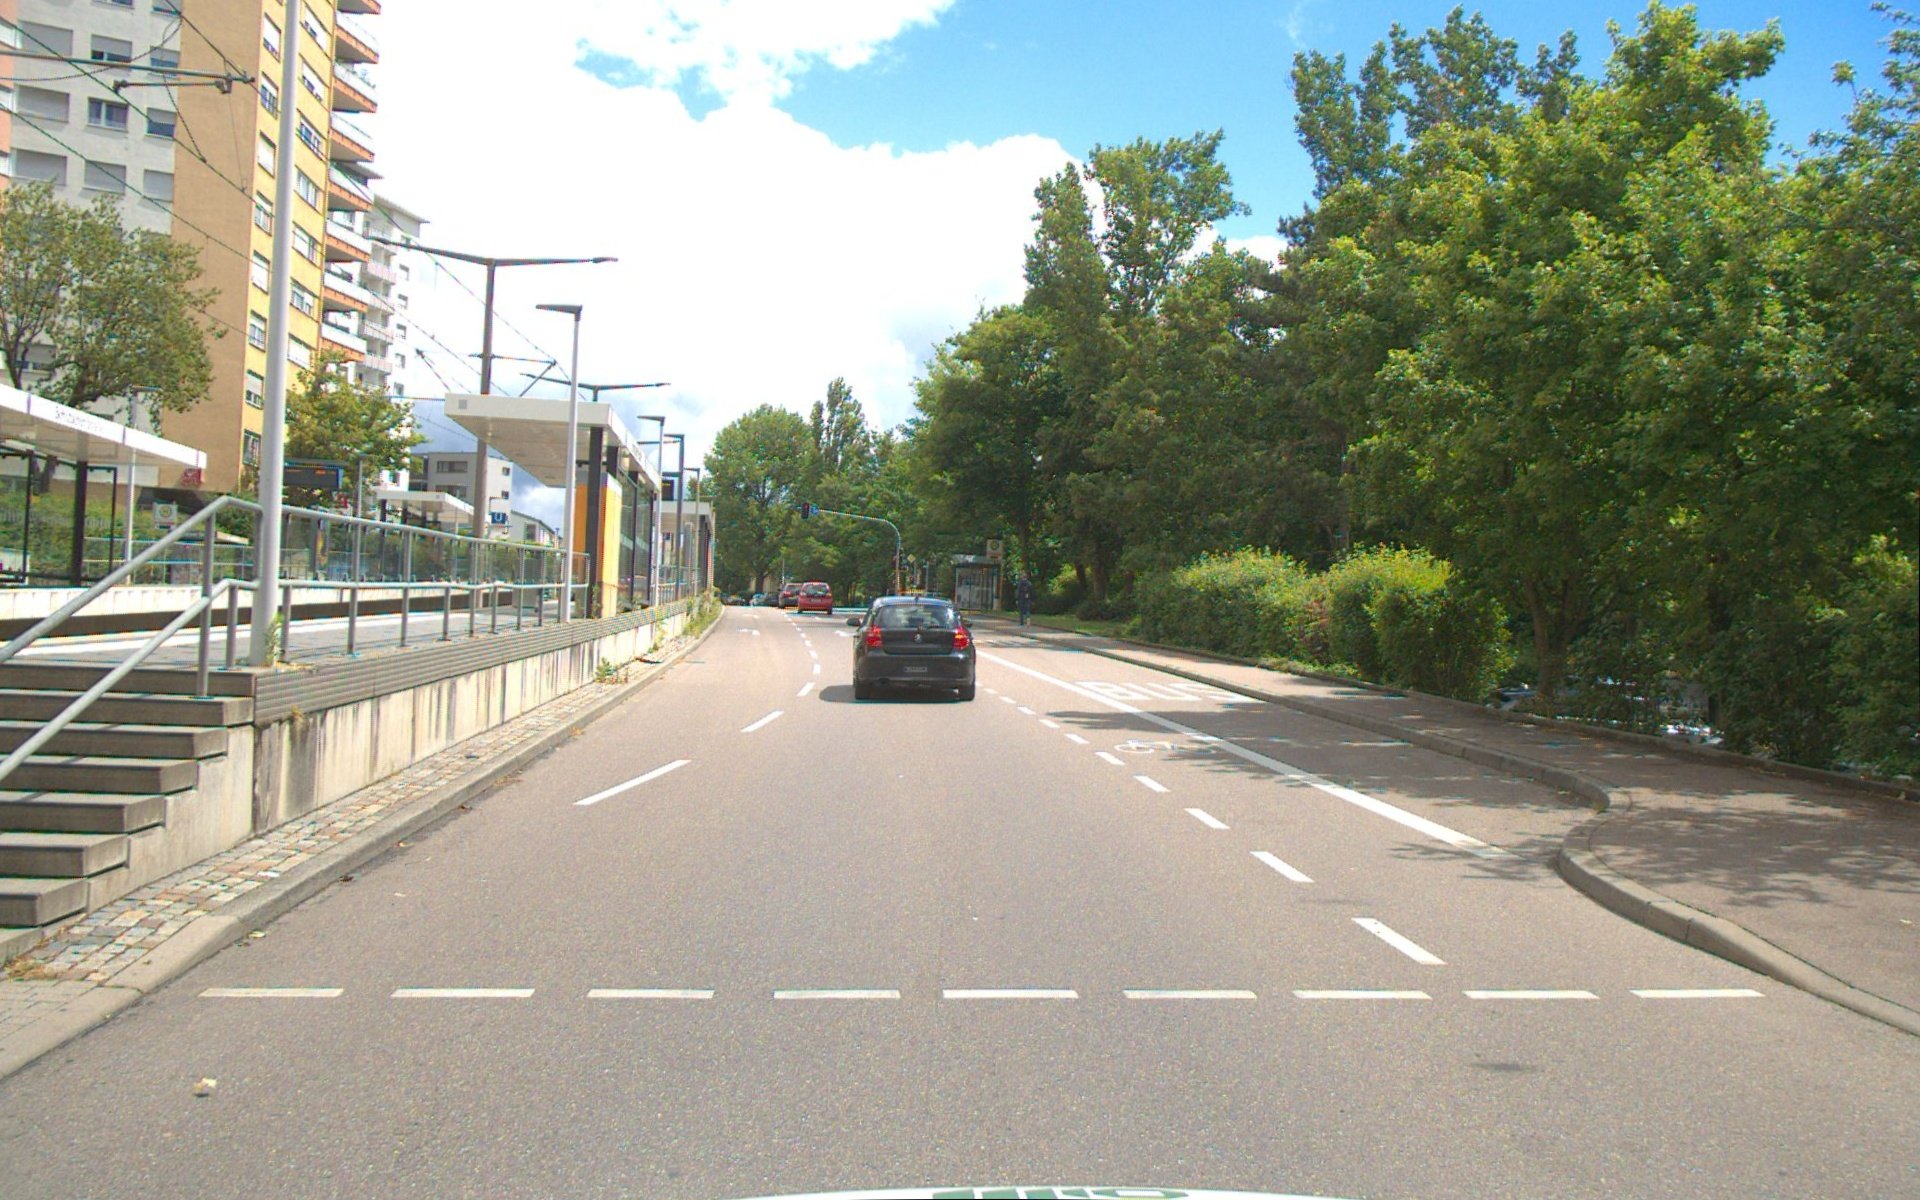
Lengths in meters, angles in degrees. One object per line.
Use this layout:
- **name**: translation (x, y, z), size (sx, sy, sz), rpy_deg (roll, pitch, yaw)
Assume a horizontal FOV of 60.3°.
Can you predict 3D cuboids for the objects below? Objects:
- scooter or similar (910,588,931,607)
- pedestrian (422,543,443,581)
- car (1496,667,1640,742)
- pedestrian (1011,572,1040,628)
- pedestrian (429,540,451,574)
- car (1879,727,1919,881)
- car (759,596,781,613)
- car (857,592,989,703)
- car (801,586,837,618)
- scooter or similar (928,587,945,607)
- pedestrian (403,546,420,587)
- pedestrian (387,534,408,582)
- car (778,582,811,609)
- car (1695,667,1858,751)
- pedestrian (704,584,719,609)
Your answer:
- **scooter or similar**: translation (-2.542, -0.182, 107.019), size (1.271, 1.210, 0.382), rpy_deg (1, 0, -24)
- **pedestrian**: translation (-19.828, -1.427, 62.168), size (0.631, 1.393, 0.506), rpy_deg (1, 0, -7)
- **car**: translation (14.601, 2.483, 39.960), size (1.833, 1.495, 3.998), rpy_deg (1, 1, -3)
- **pedestrian**: translation (2.336, -0.006, 59.046), size (0.786, 1.928, 1.269), rpy_deg (3, 0, -7)
- **pedestrian**: translation (-19.787, -1.644, 62.951), size (0.728, 1.258, 0.517), rpy_deg (1, 0, -7)
- **car**: translation (11.136, 2.037, 16.008), size (3.678, 1.457, 1.563), rpy_deg (2, -2, -4)
- **car**: translation (-16.761, 0.377, 146.089), size (1.622, 1.443, 3.515), rpy_deg (2, 0, -3)
- **car**: translation (-0.600, 0.631, 23.916), size (1.622, 1.443, 3.513), rpy_deg (1, 0, -6)
- **car**: translation (-6.665, 0.084, 78.038), size (1.564, 1.443, 3.512), rpy_deg (1, 0, -7)
- **scooter or similar**: translation (-1.535, -0.182, 107.949), size (1.090, 1.280, 0.330), rpy_deg (1, 0, -20)
- **pedestrian**: translation (-19.376, -1.194, 58.436), size (0.533, 1.404, 0.519), rpy_deg (1, -3, -16)
- **pedestrian**: translation (-19.665, -1.473, 57.795), size (0.516, 1.673, 0.556), rpy_deg (1, 0, -40)
- **car**: translation (-9.393, -0.261, 93.538), size (1.624, 1.443, 3.509), rpy_deg (1, 0, -9)
- **car**: translation (19.286, 2.533, 39.259), size (1.787, 1.646, 3.999), rpy_deg (2, 0, -1)
- **pedestrian**: translation (-15.151, -0.215, 100.959), size (0.849, 1.468, 0.796), rpy_deg (1, 0, -11)
